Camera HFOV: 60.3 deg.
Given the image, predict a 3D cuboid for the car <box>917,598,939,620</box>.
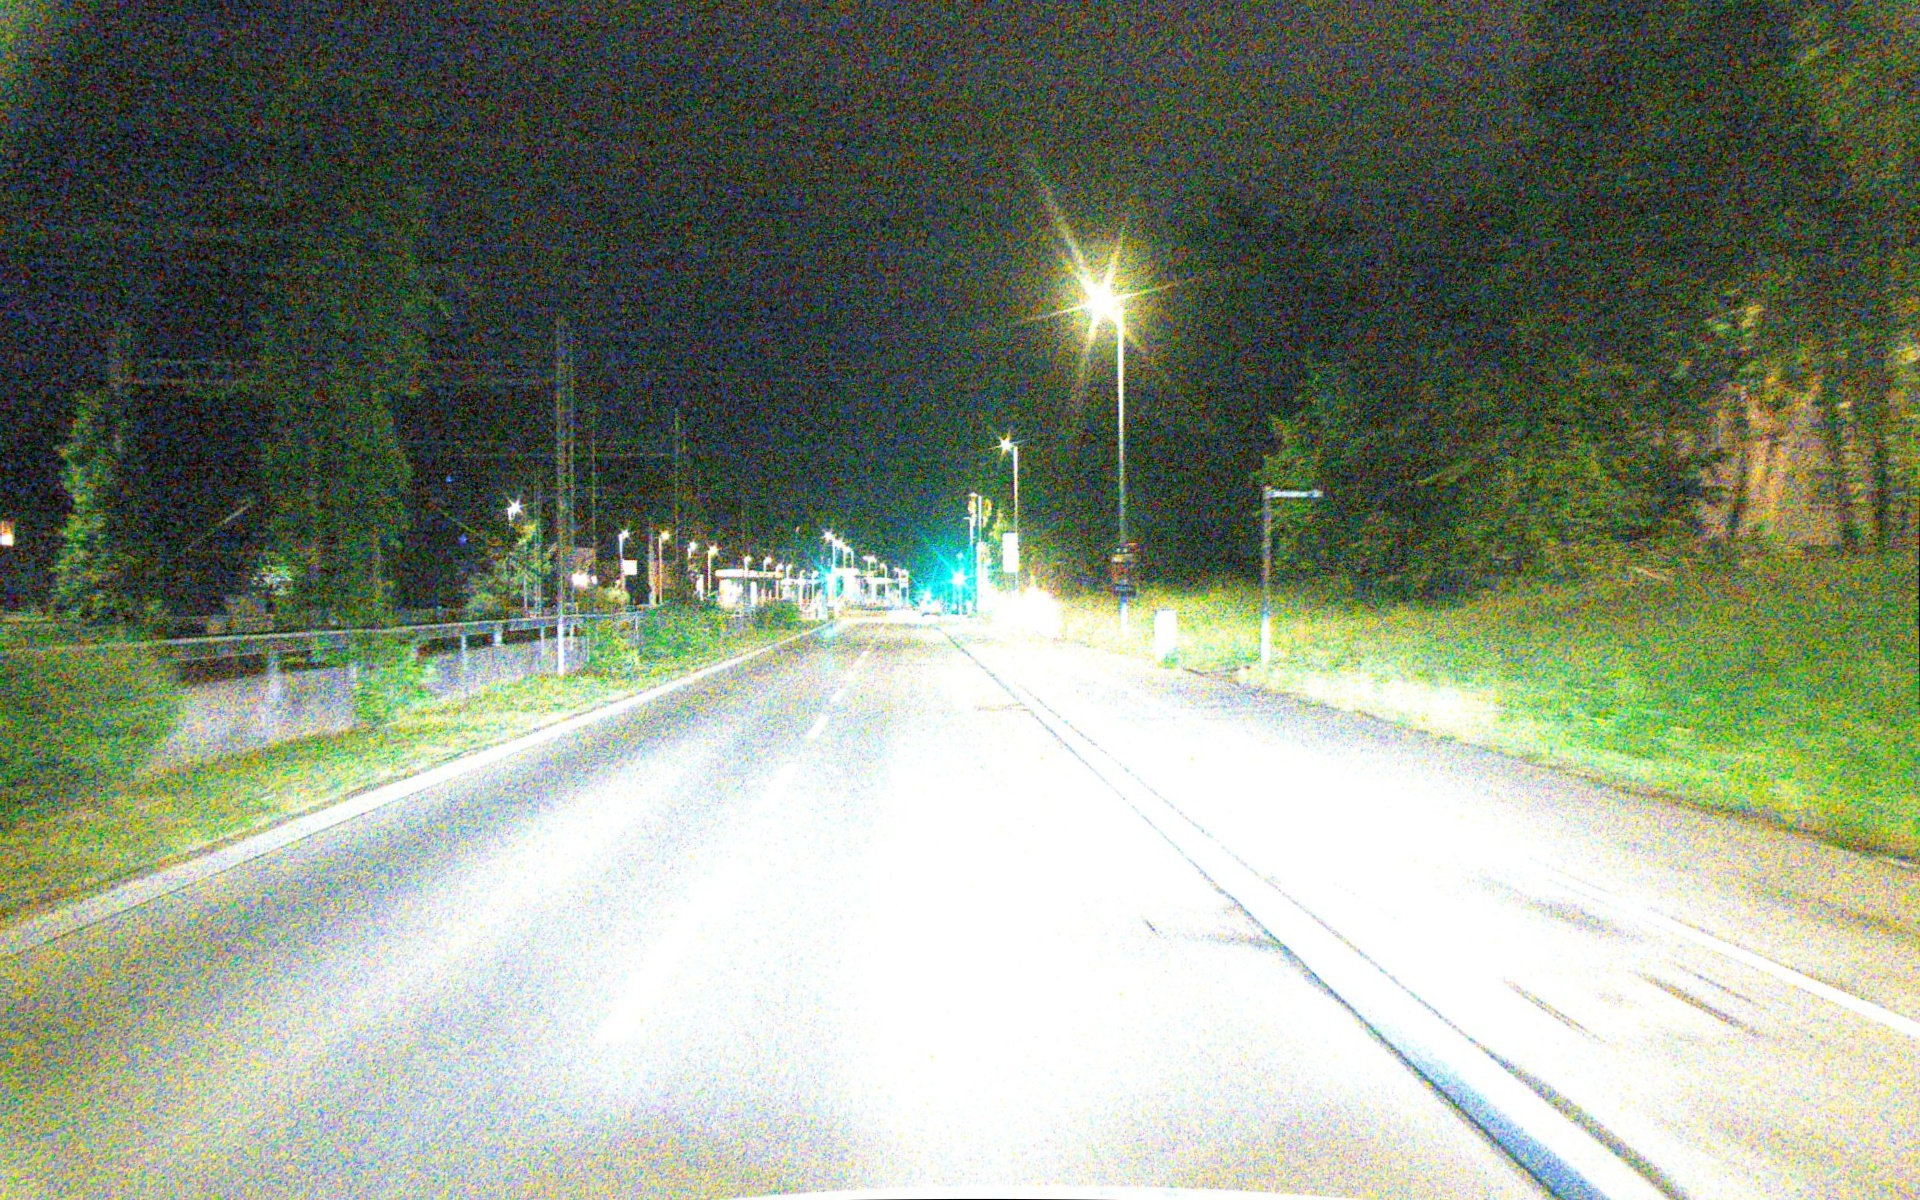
[{"bbox_3d":[-3.090,0.881,159.346,2.045,2.049,3.999,-1,0,-1],"label":"car"}]
